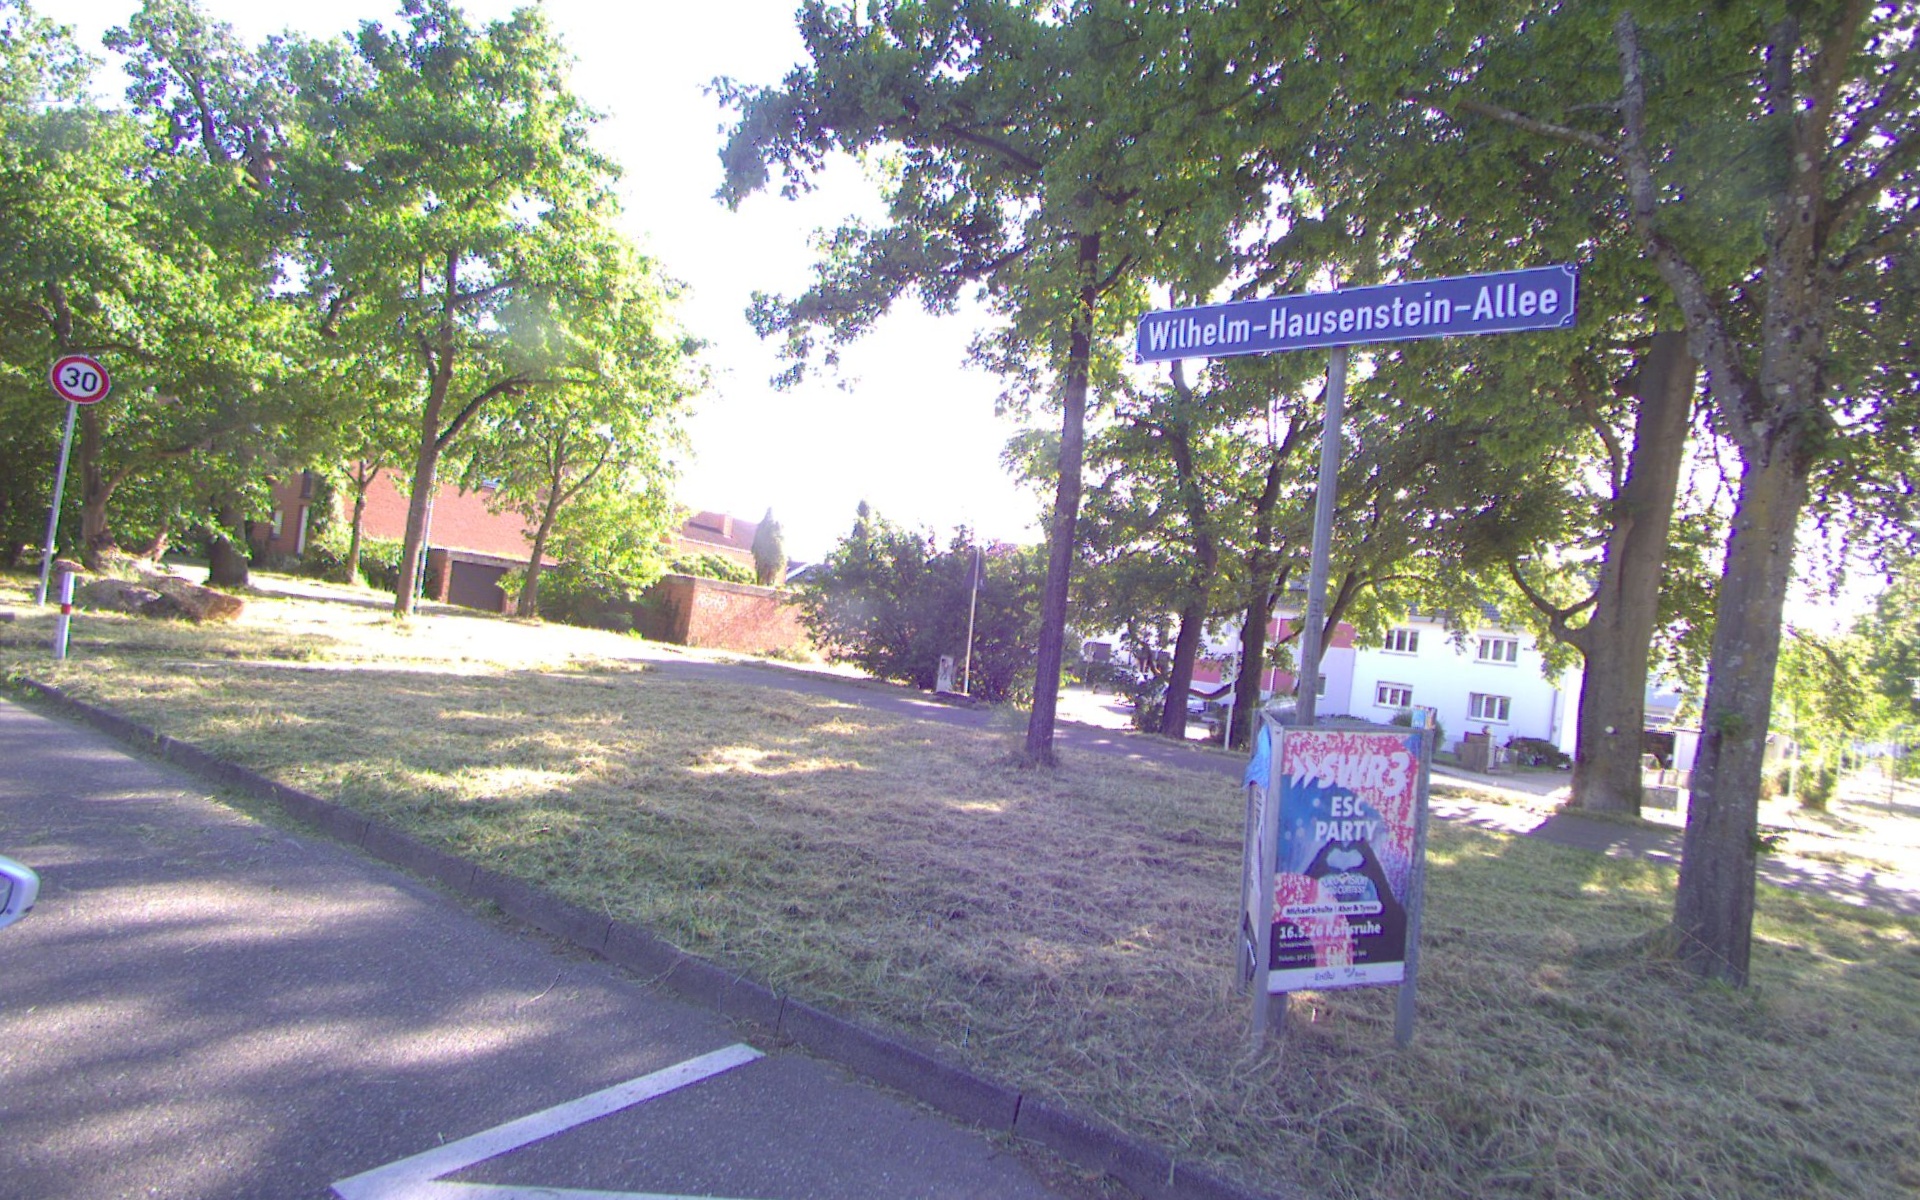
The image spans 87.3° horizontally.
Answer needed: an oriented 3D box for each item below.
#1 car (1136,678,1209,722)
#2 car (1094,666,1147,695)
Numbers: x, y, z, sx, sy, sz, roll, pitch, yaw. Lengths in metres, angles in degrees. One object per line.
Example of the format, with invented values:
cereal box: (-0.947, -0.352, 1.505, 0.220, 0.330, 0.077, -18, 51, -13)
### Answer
car: (10.092, 4.751, 47.959, 1.514, 1.569, 3.160, 9, -2, -30)
car: (10.939, 5.479, 68.464, 3.617, 1.515, 1.434, 10, -3, -41)
